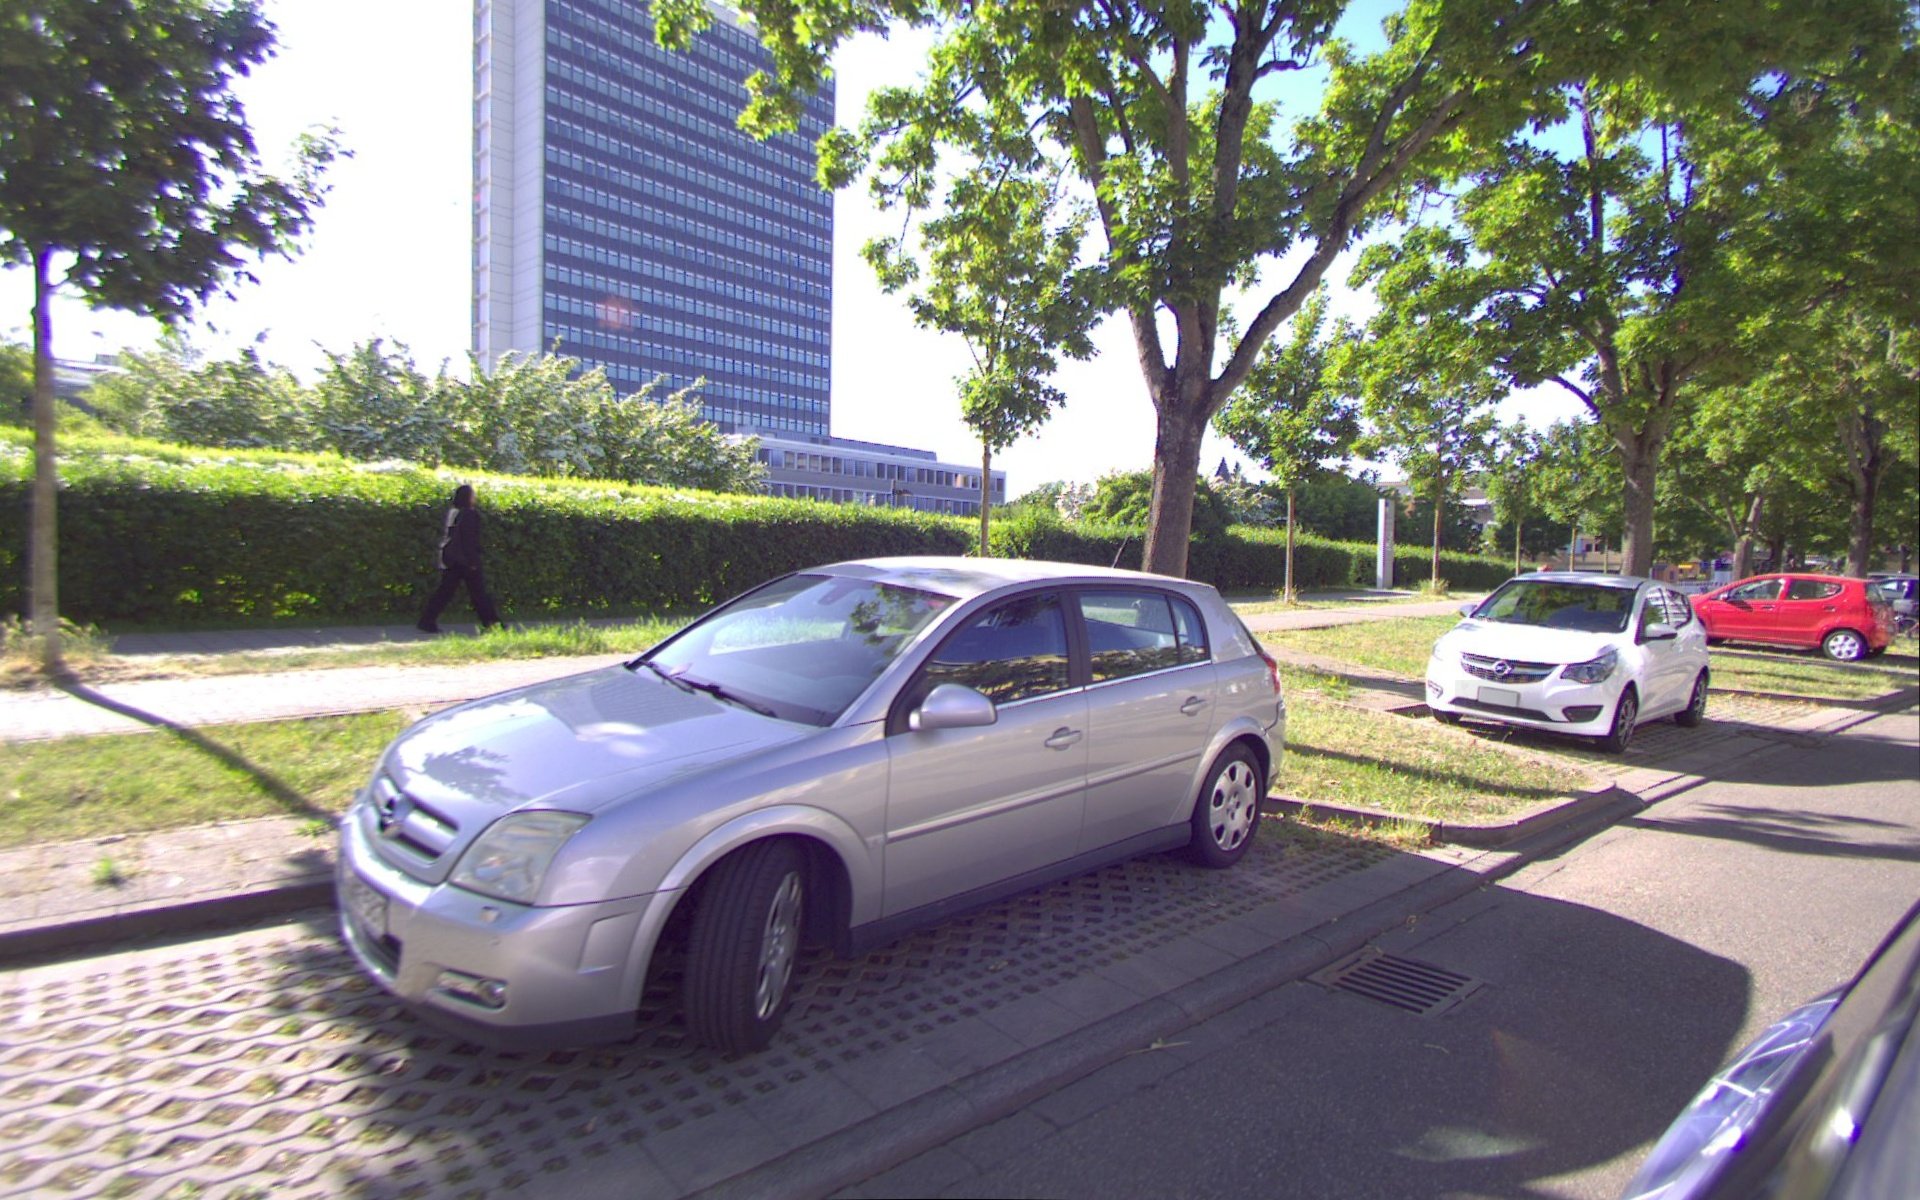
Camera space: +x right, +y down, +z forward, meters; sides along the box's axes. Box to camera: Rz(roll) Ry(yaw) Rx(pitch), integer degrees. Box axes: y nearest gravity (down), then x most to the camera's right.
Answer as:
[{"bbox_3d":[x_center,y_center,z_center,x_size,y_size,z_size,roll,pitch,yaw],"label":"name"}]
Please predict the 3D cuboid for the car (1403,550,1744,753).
[{"bbox_3d":[5.976,0.352,9.715,3.699,1.511,1.647,-1,5,-41],"label":"car"}]

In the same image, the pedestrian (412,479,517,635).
[{"bbox_3d":[-5.388,-0.471,11.011,0.724,1.607,0.839,3,3,44],"label":"pedestrian"}]

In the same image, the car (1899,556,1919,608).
[{"bbox_3d":[31.234,-0.399,30.374,1.825,1.564,4.164,-1,6,-37],"label":"car"}]

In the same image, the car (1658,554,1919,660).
[{"bbox_3d":[15.292,0.041,18.743,1.596,1.562,3.449,0,6,-34],"label":"car"}]

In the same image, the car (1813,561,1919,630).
[{"bbox_3d":[23.060,-0.065,24.297,1.823,1.496,3.478,0,5,-33],"label":"car"}]

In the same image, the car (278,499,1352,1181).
[{"bbox_3d":[-0.153,0.439,4.513,1.811,1.511,4.550,7,6,44],"label":"car"}]

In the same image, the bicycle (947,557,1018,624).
[{"bbox_3d":[0.325,-0.156,14.039,0.344,0.877,1.395,3,4,30],"label":"bicycle"}]

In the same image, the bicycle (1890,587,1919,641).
[{"bbox_3d":[18.681,0.317,18.940,0.519,1.002,1.761,0,4,-24],"label":"bicycle"}]

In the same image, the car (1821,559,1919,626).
[{"bbox_3d":[25.098,-0.128,25.929,1.823,1.564,4.212,0,5,-34],"label":"car"}]
